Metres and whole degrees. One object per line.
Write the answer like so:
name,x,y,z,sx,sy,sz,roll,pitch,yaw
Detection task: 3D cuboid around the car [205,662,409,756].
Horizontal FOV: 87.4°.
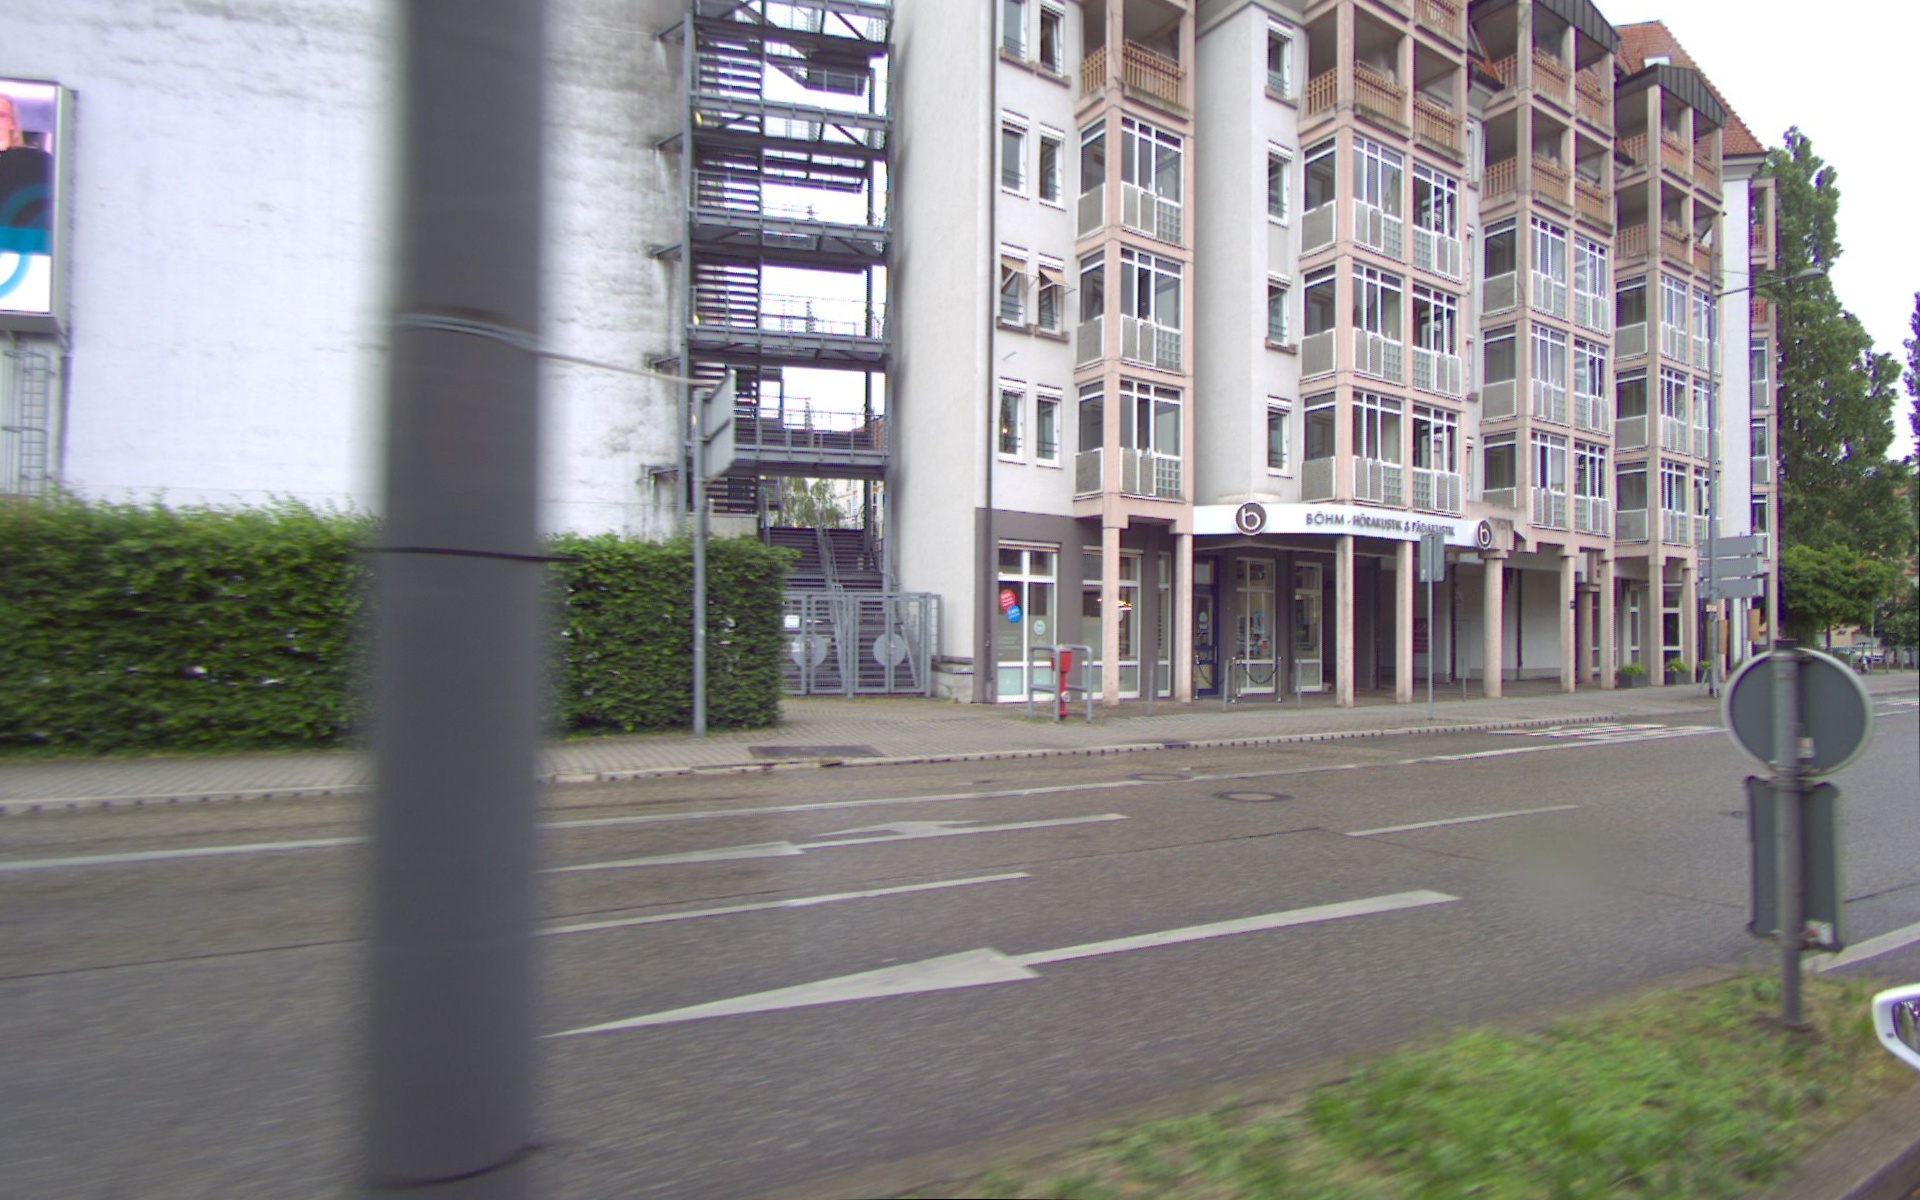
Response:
car,-13.901,2.265,21.713,1.917,1.596,4.060,2,-1,-4

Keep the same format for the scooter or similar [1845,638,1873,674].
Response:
scooter or similar,34.647,2.144,38.692,1.557,1.331,0.478,-1,-1,-37

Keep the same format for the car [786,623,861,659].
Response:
car,-7.868,2.368,57.844,4.166,2.040,1.864,0,-3,-14

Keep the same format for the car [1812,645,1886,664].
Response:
car,69.854,4.293,78.993,1.877,1.406,3.968,2,-3,-31
